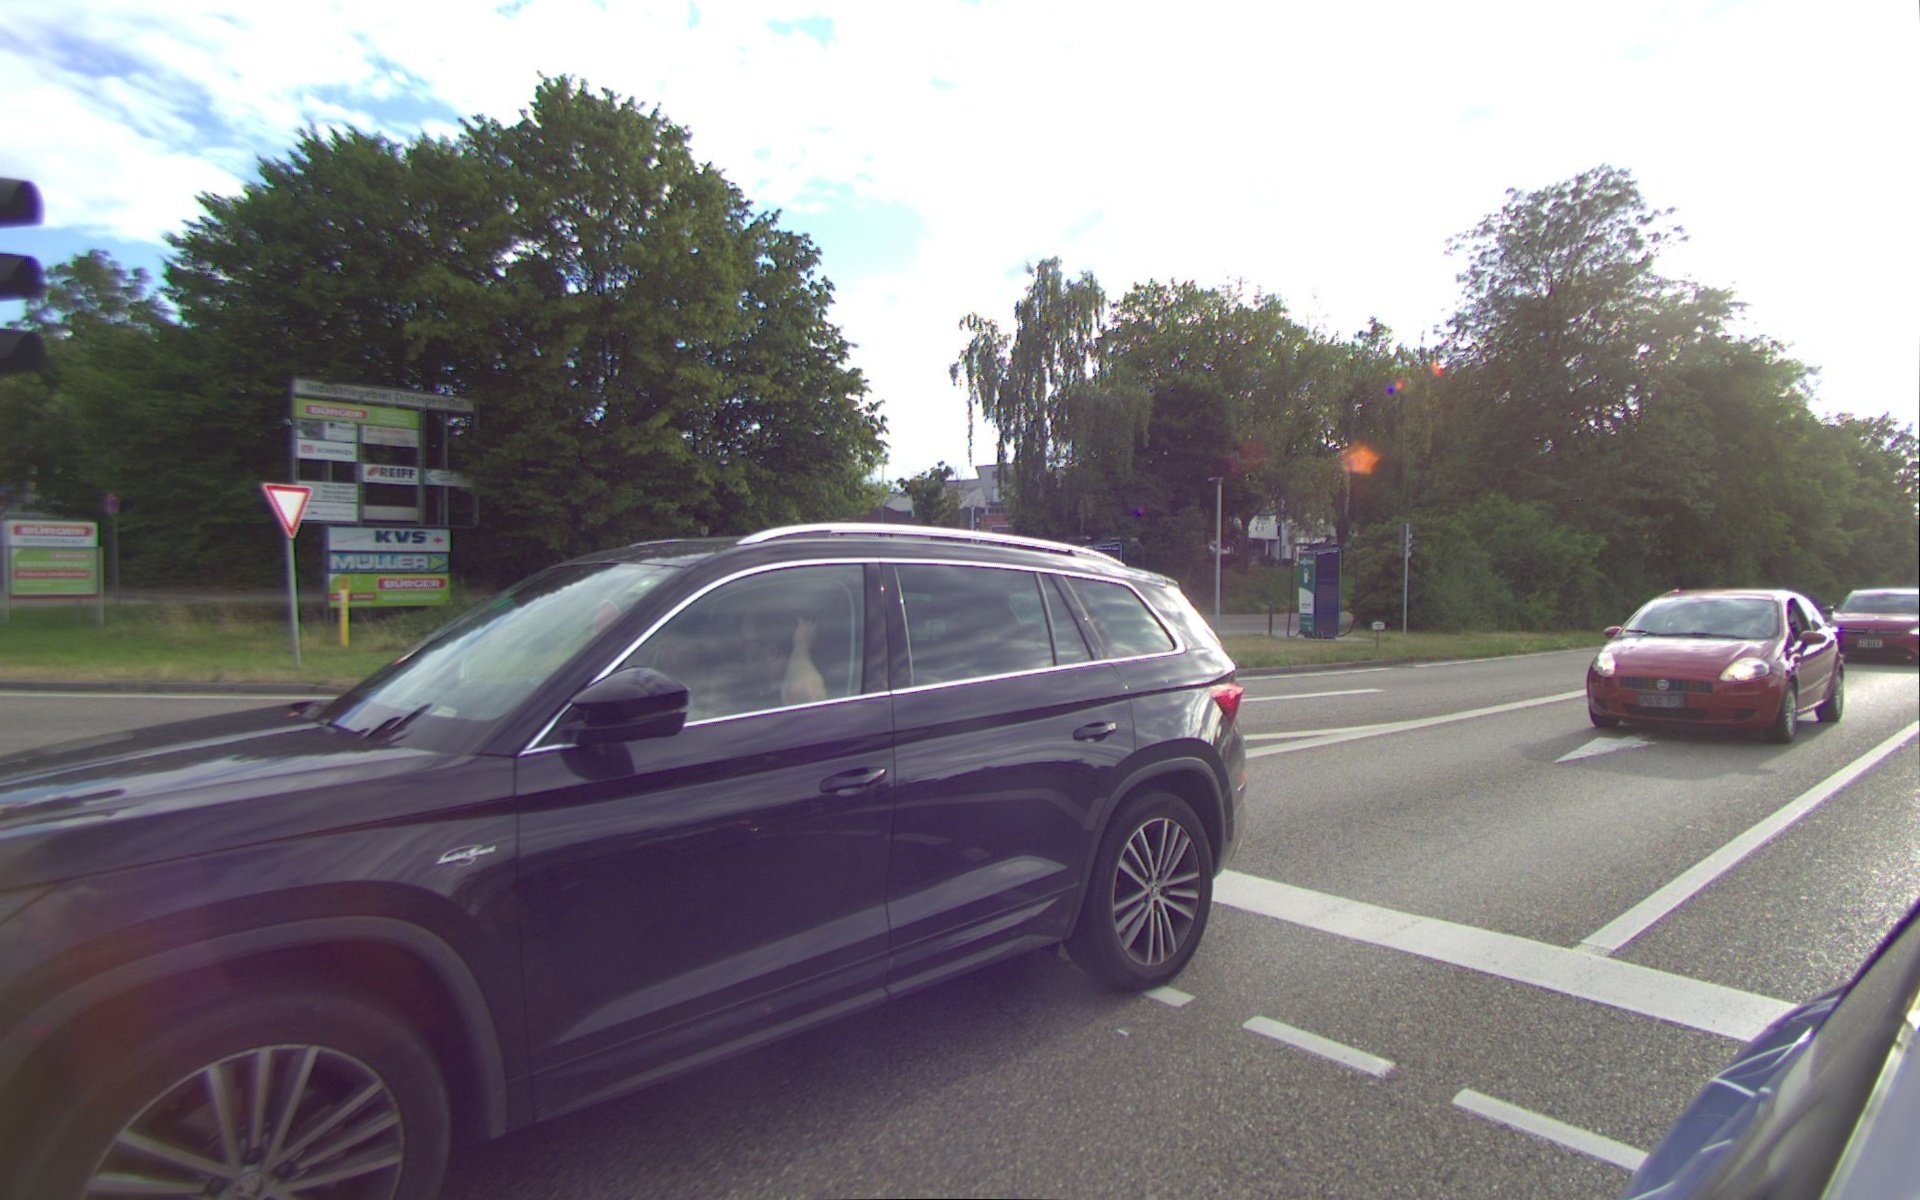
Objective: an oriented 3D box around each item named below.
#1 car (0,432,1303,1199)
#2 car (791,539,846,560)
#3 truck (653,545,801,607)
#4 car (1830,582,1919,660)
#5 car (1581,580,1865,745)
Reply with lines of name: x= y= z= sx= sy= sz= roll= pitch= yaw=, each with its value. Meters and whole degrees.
car: x=-0.838 y=0.545 z=3.447 sx=4.403 sy=1.671 sz=1.847 roll=-1 pitch=0 yaw=-41
car: x=-10.371 y=-3.683 z=74.077 sx=1.968 sy=1.382 sz=3.989 roll=-2 pitch=1 yaw=-44
truck: x=-7.901 y=-0.788 z=34.370 sx=4.602 sy=2.022 sz=1.816 roll=0 pitch=1 yaw=15
car: x=19.022 y=0.366 z=20.433 sx=3.931 sy=1.433 sz=1.699 roll=-1 pitch=1 yaw=-41
car: x=8.239 y=0.516 z=10.806 sx=3.925 sy=1.450 sz=1.665 roll=-1 pitch=1 yaw=-41
